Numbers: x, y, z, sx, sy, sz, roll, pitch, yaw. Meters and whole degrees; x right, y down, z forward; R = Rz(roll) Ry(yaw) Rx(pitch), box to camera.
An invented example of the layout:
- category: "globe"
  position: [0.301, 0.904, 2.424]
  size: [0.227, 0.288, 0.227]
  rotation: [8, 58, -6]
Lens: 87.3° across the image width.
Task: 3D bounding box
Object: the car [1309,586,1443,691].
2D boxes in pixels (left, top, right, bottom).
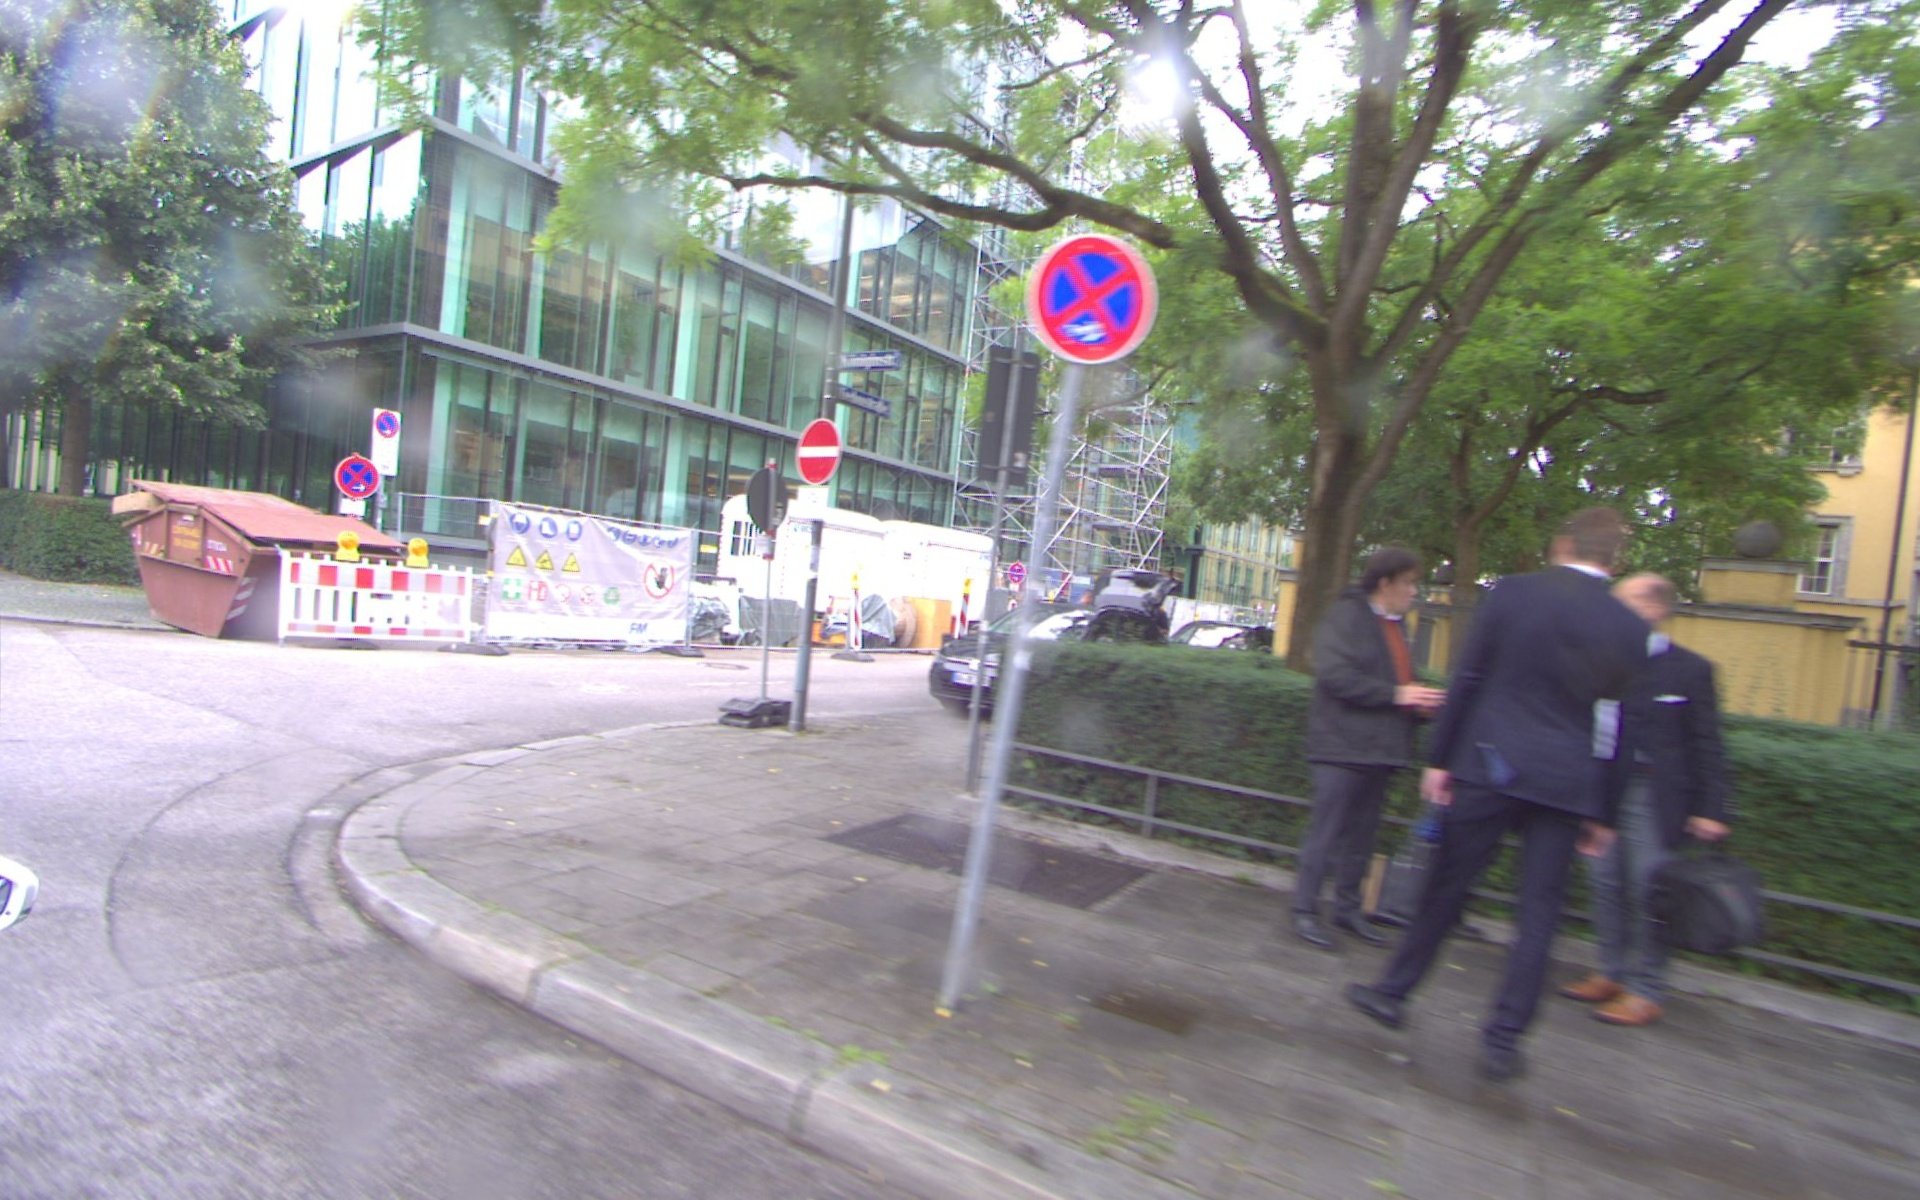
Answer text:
- category: "car"
  position: [11.842, 1.119, 28.349]
  size: [2.120, 2.493, 5.676]
  rotation: [6, 0, 35]

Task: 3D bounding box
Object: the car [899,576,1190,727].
- category: "car"
  position: [1.277, 0.652, 13.124]
  size: [1.839, 1.505, 4.205]
  rotation: [6, 1, 34]

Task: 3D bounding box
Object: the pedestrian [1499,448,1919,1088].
- category: "pedestrian"
  position: [2.852, 0.557, 3.983]
  size: [1.038, 2.163, 0.743]
  rotation: [7, 3, 29]

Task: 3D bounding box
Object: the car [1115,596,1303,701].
- category: "car"
  position: [4.552, 0.869, 18.004]
  size: [1.840, 1.505, 3.992]
  rotation: [6, 1, 35]

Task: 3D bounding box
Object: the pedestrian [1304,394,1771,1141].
- category: "pedestrian"
  position: [1.904, 0.457, 3.454]
  size: [1.038, 2.163, 0.743]
  rotation: [7, 3, 29]

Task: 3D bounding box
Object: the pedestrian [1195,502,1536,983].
- category: "pedestrian"
  position: [1.804, 0.576, 4.630]
  size: [0.735, 1.933, 1.049]
  rotation: [5, 2, -24]

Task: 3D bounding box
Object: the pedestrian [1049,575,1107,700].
- category: "pedestrian"
  position: [1.828, 0.568, 15.582]
  size: [0.672, 1.834, 0.671]
  rotation: [6, 3, 11]
